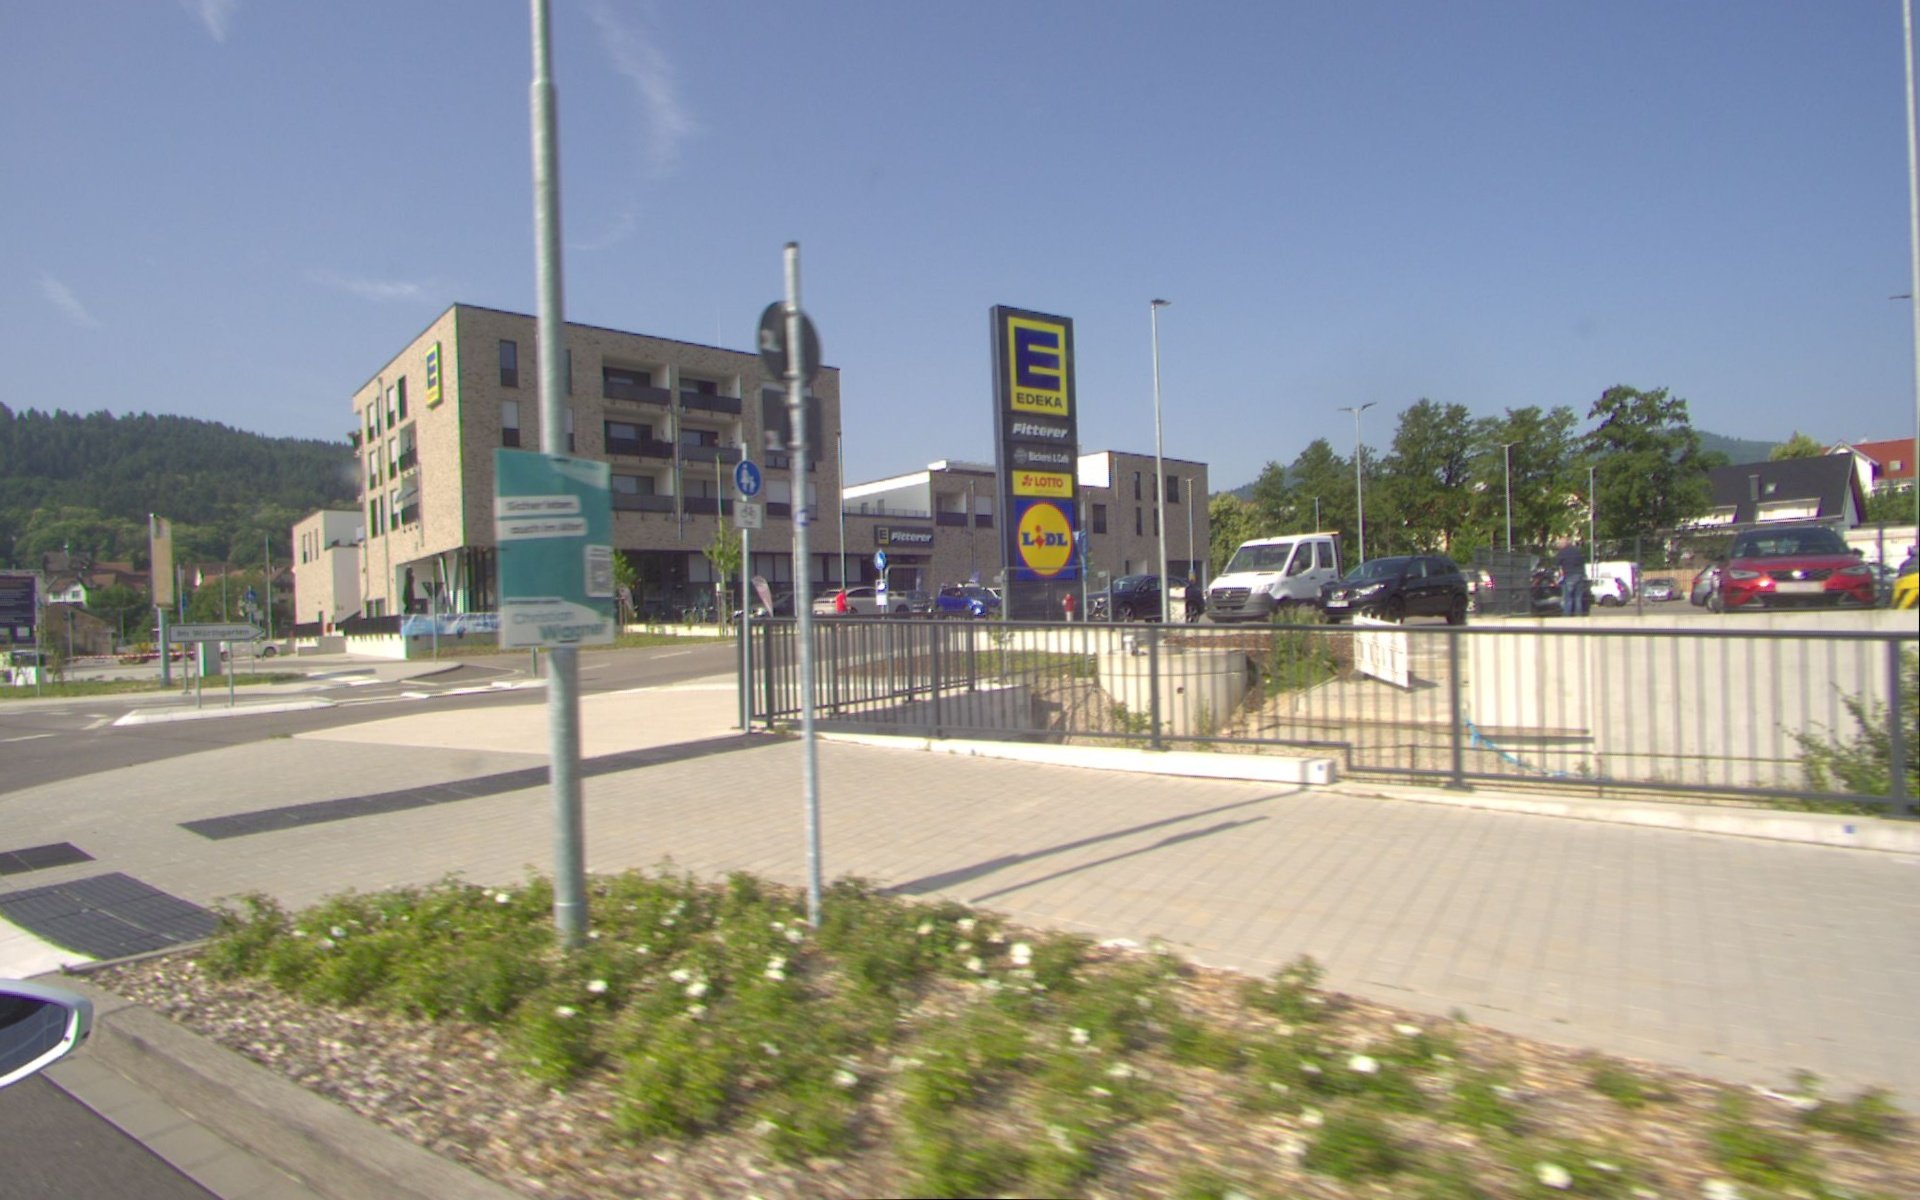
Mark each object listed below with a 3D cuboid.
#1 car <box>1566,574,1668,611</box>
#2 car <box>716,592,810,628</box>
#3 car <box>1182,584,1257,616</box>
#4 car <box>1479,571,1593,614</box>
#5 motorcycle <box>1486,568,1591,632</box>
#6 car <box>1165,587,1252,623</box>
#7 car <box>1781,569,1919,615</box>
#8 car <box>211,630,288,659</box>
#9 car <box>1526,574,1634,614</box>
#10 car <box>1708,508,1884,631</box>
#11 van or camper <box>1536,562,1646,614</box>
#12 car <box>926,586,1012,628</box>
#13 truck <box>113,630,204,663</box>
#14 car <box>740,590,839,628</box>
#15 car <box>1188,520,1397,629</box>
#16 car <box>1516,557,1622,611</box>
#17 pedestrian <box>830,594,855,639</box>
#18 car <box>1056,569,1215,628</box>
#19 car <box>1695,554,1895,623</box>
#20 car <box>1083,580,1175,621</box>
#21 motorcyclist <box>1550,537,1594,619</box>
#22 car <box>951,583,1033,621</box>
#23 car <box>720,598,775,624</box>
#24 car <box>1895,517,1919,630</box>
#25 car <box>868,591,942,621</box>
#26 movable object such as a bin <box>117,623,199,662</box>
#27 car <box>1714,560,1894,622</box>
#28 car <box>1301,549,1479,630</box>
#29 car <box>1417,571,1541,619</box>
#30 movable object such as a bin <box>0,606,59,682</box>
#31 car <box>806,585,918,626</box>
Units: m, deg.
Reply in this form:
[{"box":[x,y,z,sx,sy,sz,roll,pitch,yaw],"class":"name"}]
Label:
[{"box":[31.419,-0.319,47.953,1.744,1.594,3.757,2,-3,-39],"class":"car"},{"box":[-10.053,0.478,51.346,4.413,1.577,1.840,-4,3,-43],"class":"car"},{"box":[15.470,0.021,59.814,3.953,1.763,1.920,-2,-3,40],"class":"car"},{"box":[23.975,-0.263,41.772,1.744,1.594,3.757,2,-3,-39],"class":"car"},{"box":[11.272,0.014,19.517,1.868,1.206,0.590,0,0,-13],"class":"motorcycle"},{"box":[10.884,0.256,44.032,1.508,1.463,3.604,2,-3,-38],"class":"car"},{"box":[34.226,-0.266,38.565,1.744,1.594,3.757,2,-3,-39],"class":"car"},{"box":[-43.054,2.697,60.719,1.573,1.514,3.396,-4,-1,33],"class":"car"},{"box":[27.668,-0.219,44.757,1.744,1.594,3.757,2,-3,-39],"class":"car"},{"box":[12.759,-0.341,15.511,1.756,1.594,3.999,-1,-3,35],"class":"car"},{"box":[38.612,-0.695,61.369,2.270,2.883,5.243,2,-3,-40],"class":"van or camper"},{"box":[0.365,0.334,46.376,1.860,1.685,4.329,-6,2,-32],"class":"car"},{"box":[-63.621,3.663,79.645,5.254,2.295,2.208,-3,0,-31],"class":"truck"},{"box":[-8.255,0.385,48.735,4.413,1.577,1.840,-4,3,-43],"class":"car"},{"box":[8.586,-0.504,25.571,6.020,2.413,2.046,2,-3,-37],"class":"car"},{"box":[33.393,-0.822,54.980,1.978,2.650,4.609,2,-3,-40],"class":"car"},{"box":[-4.591,0.655,39.169,0.863,1.763,0.758,0,-2,5],"class":"pedestrian"},{"box":[5.307,0.019,30.051,4.799,1.549,1.910,2,-3,-35],"class":"car"},{"box":[22.642,-0.251,27.250,1.980,1.638,3.964,2,-3,-42],"class":"car"},{"box":[9.156,0.078,54.358,4.593,2.039,1.986,-2,-3,40],"class":"car"},{"box":[11.837,-0.416,19.377,0.571,1.562,0.514,0,-2,13],"class":"motorcyclist"},{"box":[1.710,0.132,54.932,1.978,1.904,4.539,-1,-1,-41],"class":"car"},{"box":[-12.138,0.648,57.173,3.297,1.368,1.478,-2,-3,43],"class":"car"},{"box":[14.390,-0.413,13.720,1.756,1.594,3.999,-1,-3,35],"class":"car"},{"box":[-2.964,0.320,53.527,1.626,1.411,4.191,-4,1,-43],"class":"car"},{"box":[-61.404,3.234,76.782,4.560,2.603,1.915,-3,0,-31],"class":"movable object such as a bin"},{"box":[24.329,-0.191,28.977,1.648,1.594,3.757,2,-3,-39],"class":"car"},{"box":[9.941,-0.166,23.015,4.423,1.622,1.820,2,-3,-37],"class":"car"},{"box":[19.373,-0.150,37.507,1.744,1.594,3.757,2,-3,-39],"class":"car"},{"box":[-51.408,2.452,54.437,7.704,3.901,2.287,-3,-3,38],"class":"movable object such as a bin"},{"box":[-4.319,0.206,44.575,4.767,1.577,1.841,-4,3,-41],"class":"car"}]
